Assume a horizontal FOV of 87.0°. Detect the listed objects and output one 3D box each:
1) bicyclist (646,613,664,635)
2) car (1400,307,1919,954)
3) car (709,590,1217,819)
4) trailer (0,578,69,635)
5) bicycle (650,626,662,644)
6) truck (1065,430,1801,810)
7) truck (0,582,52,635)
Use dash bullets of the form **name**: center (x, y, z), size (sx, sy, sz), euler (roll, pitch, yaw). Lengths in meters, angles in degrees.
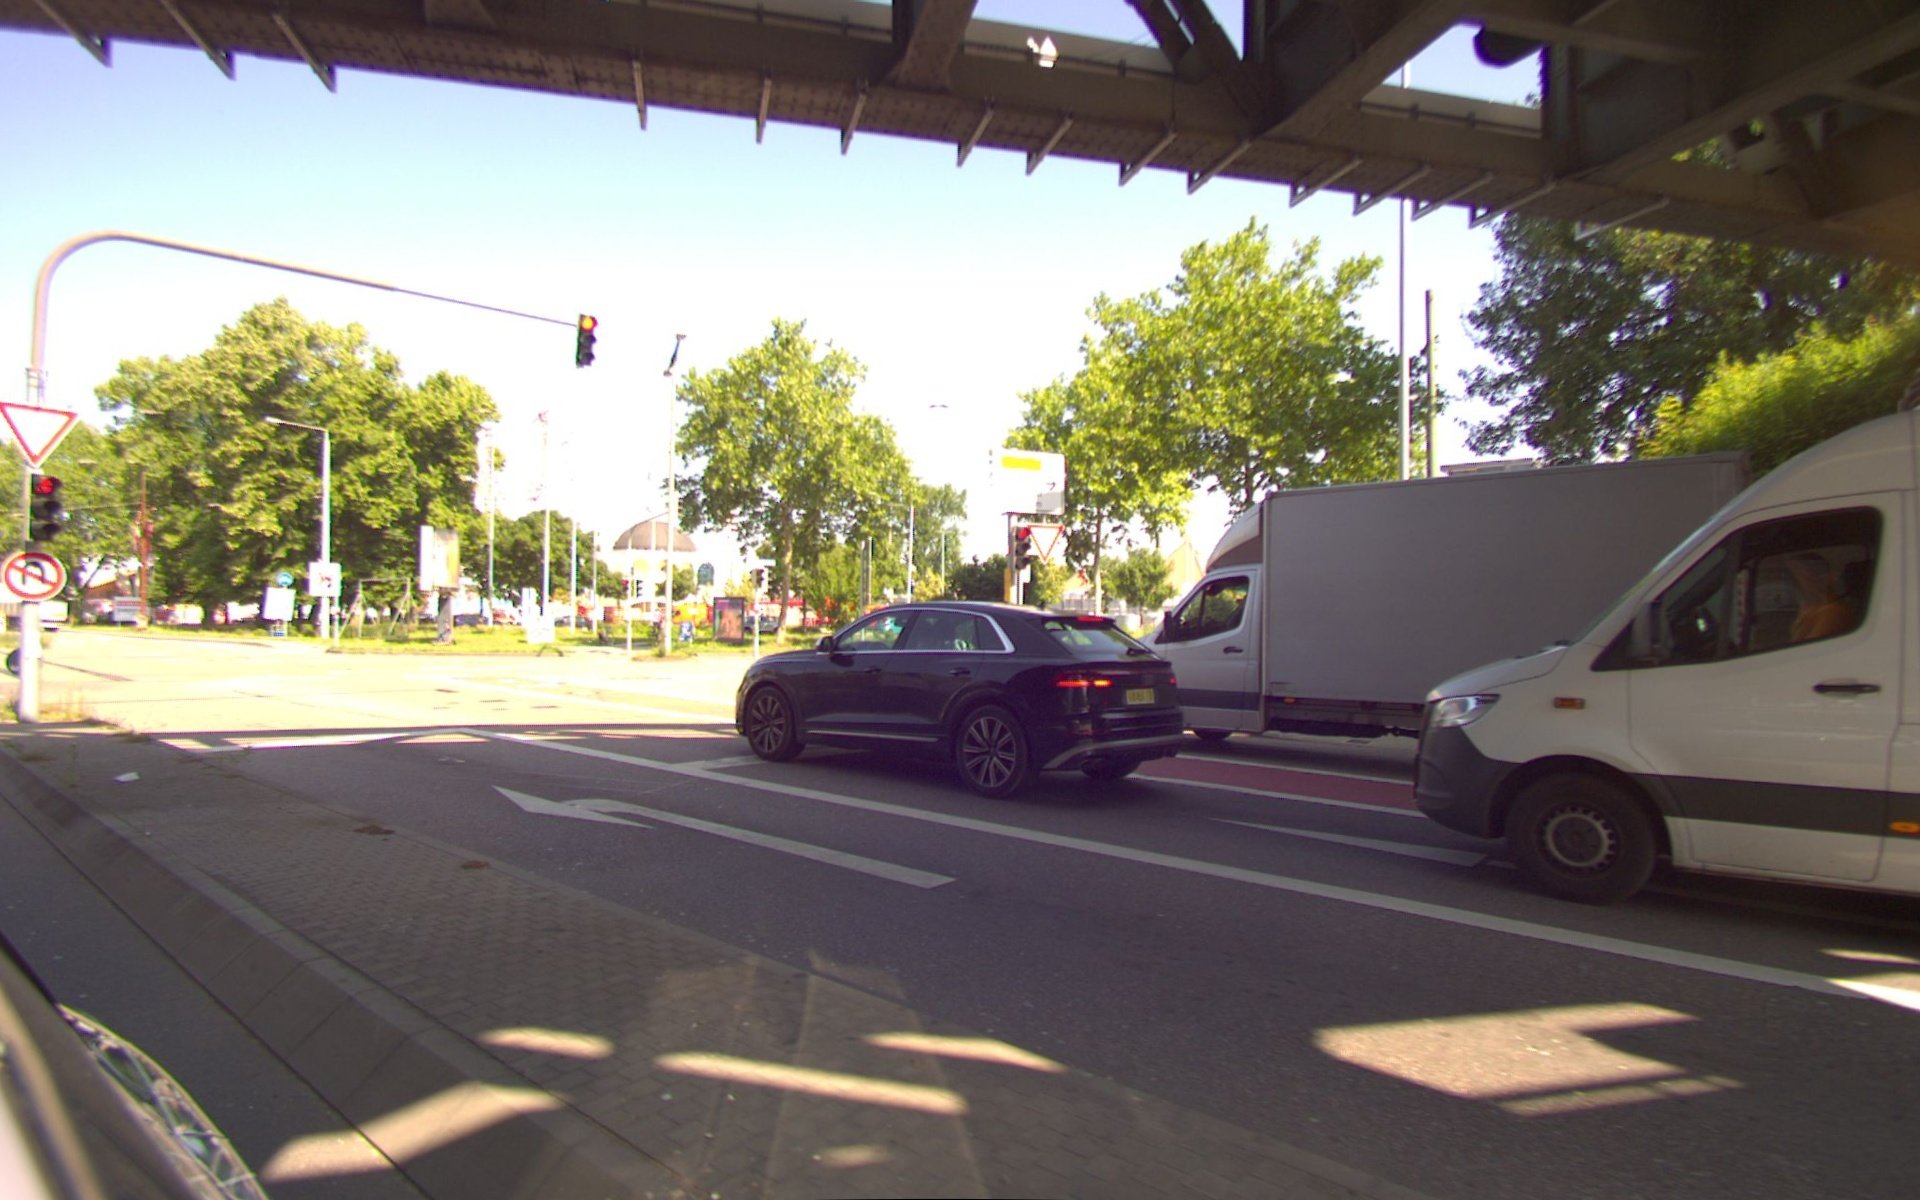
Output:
- **bicyclist**: center (-15.839, 1.244, 52.624), size (0.877, 1.092, 0.954), euler (1, -1, -15)
- **car**: center (5.807, 0.157, 4.352), size (6.931, 2.826, 1.973), euler (-1, -4, 40)
- **car**: center (-0.200, 0.813, 9.919), size (4.949, 1.694, 1.972), euler (-1, -2, 42)
- **trailer**: center (-71.021, 0.557, 77.238), size (12.133, 3.992, 2.902), euler (-2, 0, 41)
- **bicycle**: center (-15.841, 1.822, 52.691), size (0.537, 0.929, 1.882), euler (1, -1, -15)
- **truck**: center (4.785, 0.204, 11.386), size (7.060, 3.112, 2.318), euler (-1, -1, 38)
- **truck**: center (-75.330, 0.732, 80.988), size (8.149, 4.020, 2.902), euler (-2, 0, 41)
